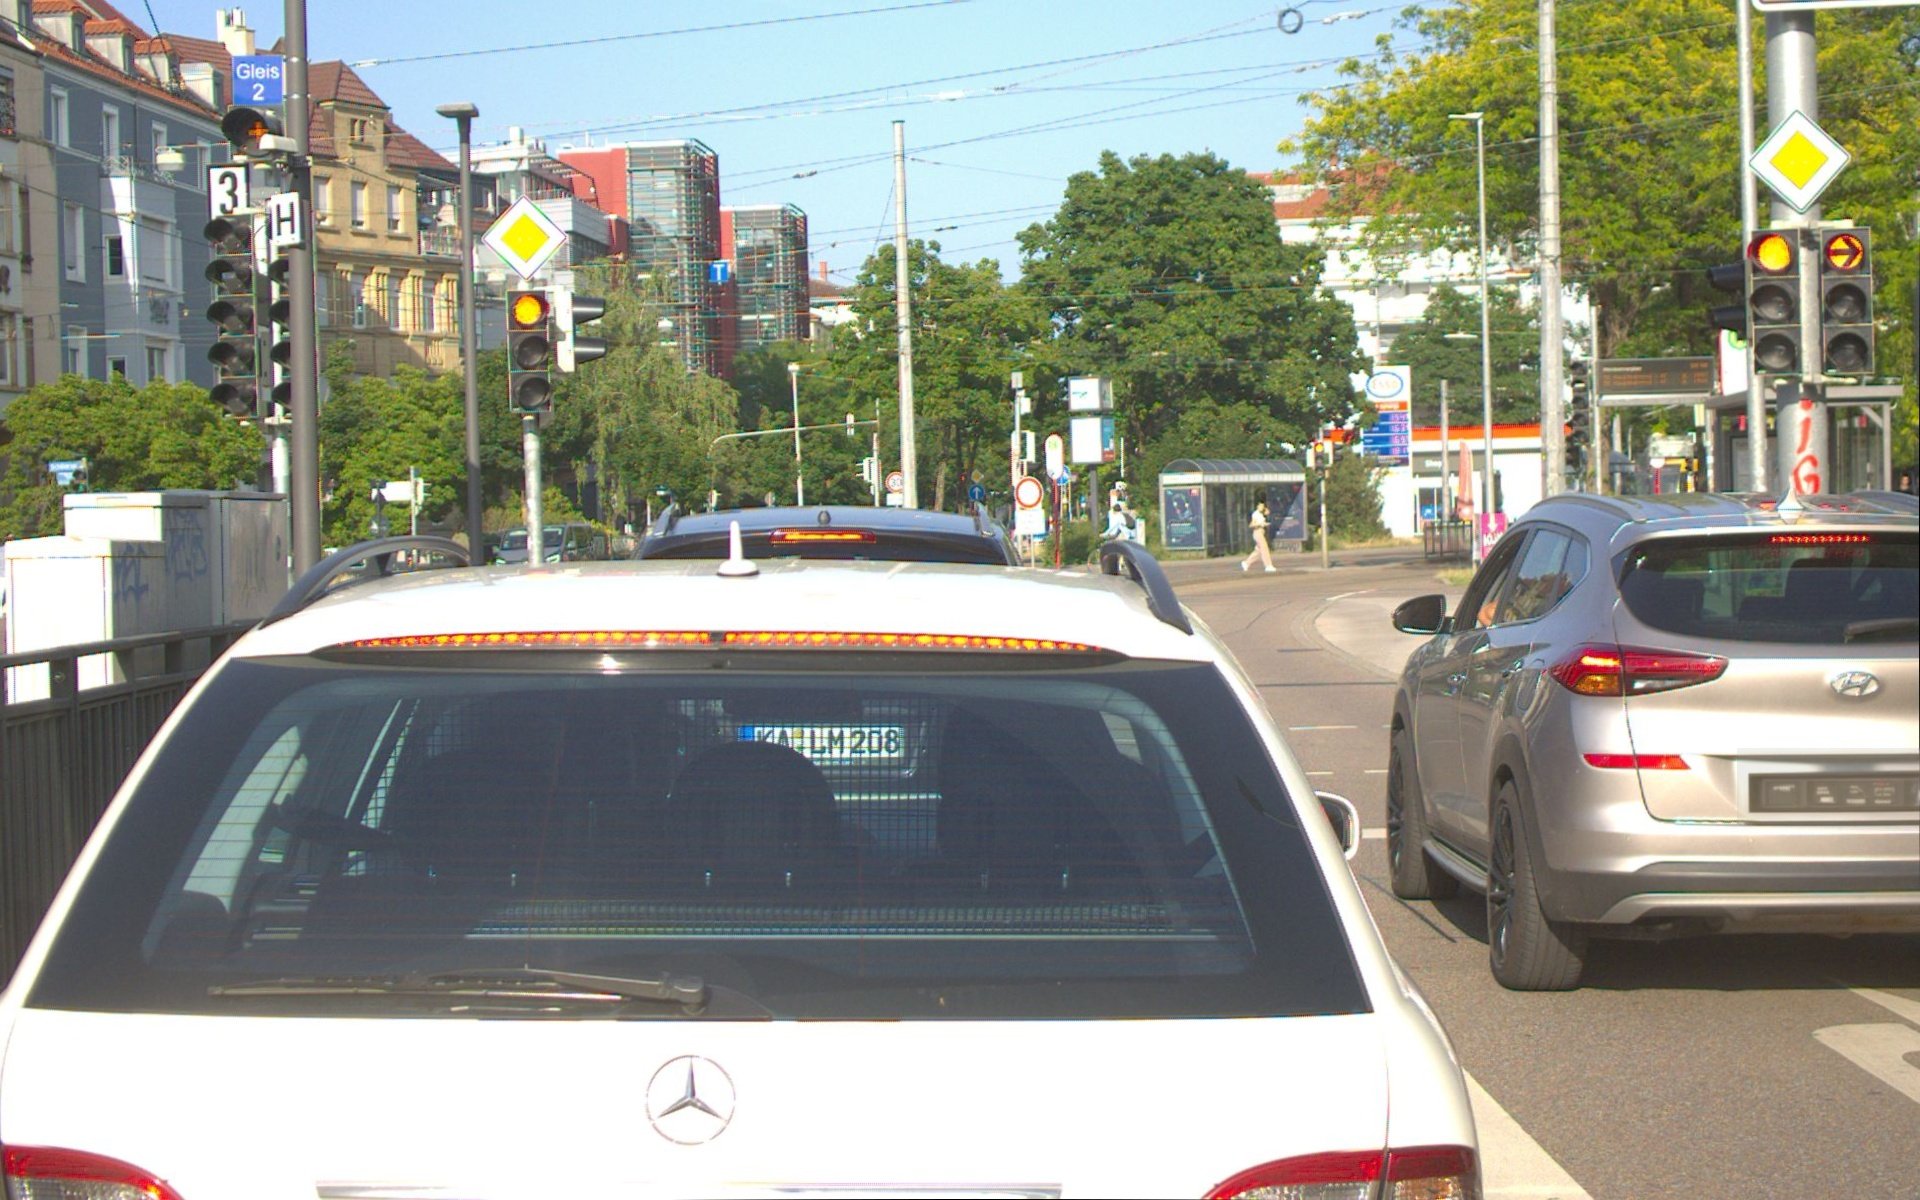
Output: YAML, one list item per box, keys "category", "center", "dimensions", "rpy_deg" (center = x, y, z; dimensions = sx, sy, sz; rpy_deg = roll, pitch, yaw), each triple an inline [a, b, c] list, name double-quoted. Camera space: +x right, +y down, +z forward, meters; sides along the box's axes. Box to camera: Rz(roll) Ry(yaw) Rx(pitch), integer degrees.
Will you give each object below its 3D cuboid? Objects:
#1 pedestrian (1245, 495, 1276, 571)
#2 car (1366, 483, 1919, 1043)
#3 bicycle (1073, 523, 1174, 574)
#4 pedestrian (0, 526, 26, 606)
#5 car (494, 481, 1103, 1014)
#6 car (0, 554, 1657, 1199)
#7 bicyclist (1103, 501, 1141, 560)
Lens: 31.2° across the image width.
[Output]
- category: "pedestrian"
  center: [7.356, -1.636, 84.129]
  dimensions: [0.642, 1.850, 0.551]
  rpy_deg: [-1, 1, 11]
- category: "car"
  center: [2.629, 0.441, 12.145]
  dimensions: [1.885, 1.645, 3.648]
  rpy_deg: [-2, 1, 0]
- category: "bicycle"
  center: [4.163, -1.313, 87.516]
  dimensions: [2.483, 1.209, 0.806]
  rpy_deg: [-1, 1, 8]
- category: "pedestrian"
  center: [-19.831, -0.706, 71.648]
  dimensions: [0.619, 1.654, 0.586]
  rpy_deg: [-2, 1, -19]
- category: "car"
  center: [-0.521, 0.422, 12.577]
  dimensions: [1.885, 1.645, 3.648]
  rpy_deg: [1, 1, 0]
- category: "car"
  center: [-0.288, 0.680, 4.999]
  dimensions: [1.796, 1.465, 3.648]
  rpy_deg: [0, 1, -1]
- category: "bicyclist"
  center: [4.120, -1.779, 87.529]
  dimensions: [0.861, 1.476, 0.789]
  rpy_deg: [-1, 1, 9]
